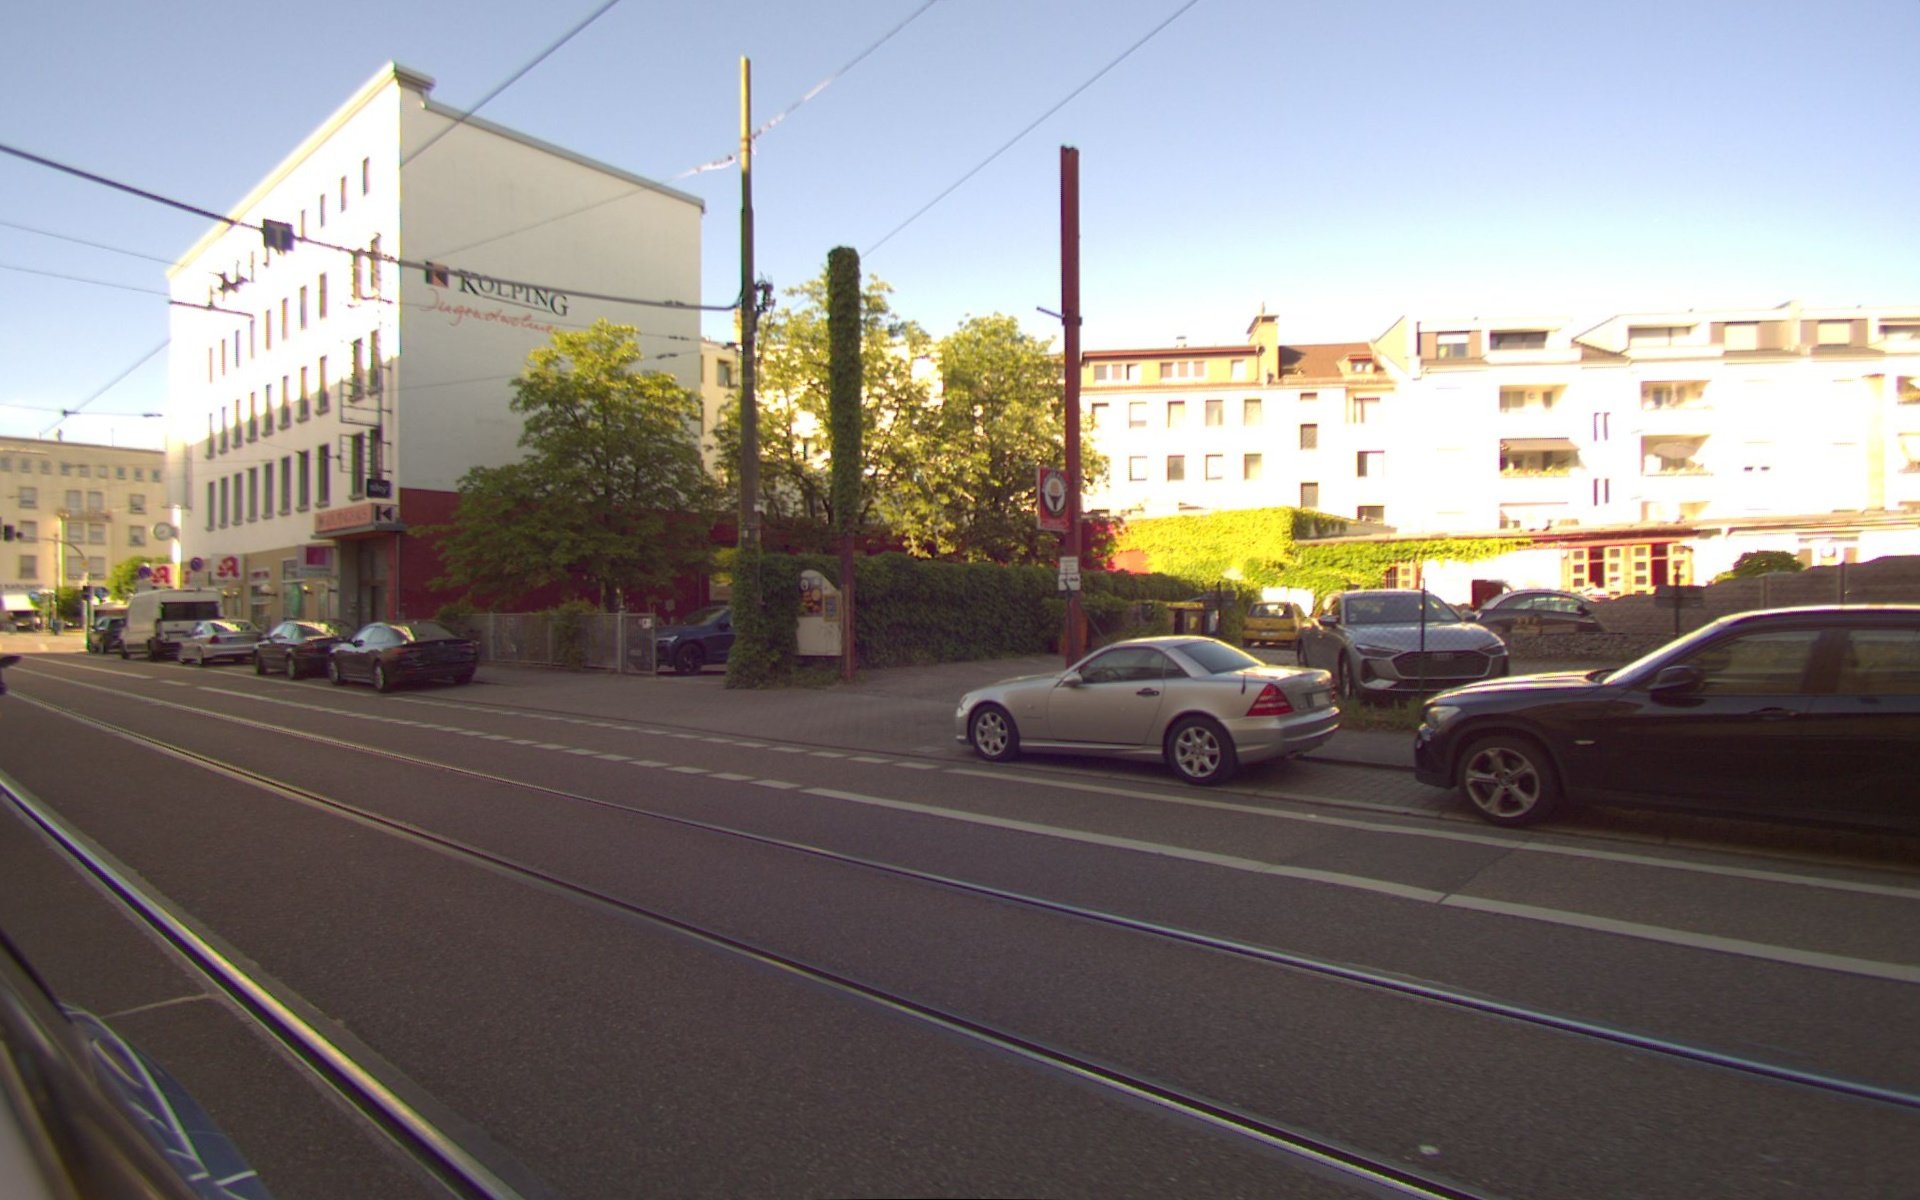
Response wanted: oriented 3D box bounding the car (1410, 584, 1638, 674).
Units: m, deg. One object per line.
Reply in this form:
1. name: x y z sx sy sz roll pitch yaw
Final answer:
1. car: 12.069 0.597 21.781 3.998 1.763 1.778 -1 -1 42

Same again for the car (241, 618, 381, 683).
1. car: -16.908 1.248 26.274 4.696 1.492 1.765 -1 1 41

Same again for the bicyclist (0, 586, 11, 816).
1. bicyclist: -7.056 0.685 6.929 0.939 1.552 0.764 -1 -1 44

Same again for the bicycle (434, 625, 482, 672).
1. bicycle: -13.502 1.280 27.191 2.049 1.183 0.435 -1 0 42

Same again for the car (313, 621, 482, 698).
1. car: -12.662 1.248 22.648 4.839 1.456 1.765 -1 1 41

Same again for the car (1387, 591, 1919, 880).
1. car: 5.515 0.761 6.707 4.610 1.577 1.764 -1 1 43

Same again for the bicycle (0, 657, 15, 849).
1. bicycle: -7.092 1.022 6.958 1.752 1.208 0.757 -1 -1 43

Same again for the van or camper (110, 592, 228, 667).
1. van or camper: -28.900 1.021 36.880 6.227 2.485 2.150 -1 1 40

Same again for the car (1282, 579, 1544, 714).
1. car: 5.962 0.559 14.042 1.976 1.529 4.786 -1 -1 7

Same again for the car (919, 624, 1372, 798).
1. car: 1.729 0.955 10.309 4.219 1.323 1.765 -1 1 41

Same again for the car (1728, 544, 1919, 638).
1. car: 17.972 -0.163 20.278 3.998 1.763 1.778 -1 -1 42

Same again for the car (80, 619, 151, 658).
1. car: -36.325 1.618 43.507 3.991 1.564 1.764 -1 1 42

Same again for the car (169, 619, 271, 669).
1. car: -23.712 1.357 32.381 4.444 1.409 1.764 -1 1 42

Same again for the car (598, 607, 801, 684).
1. car: -6.132 1.012 24.187 2.000 1.609 4.315 -1 0 42

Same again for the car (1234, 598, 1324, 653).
1. car: 9.859 0.753 31.136 1.796 1.566 3.959 -1 -1 30
